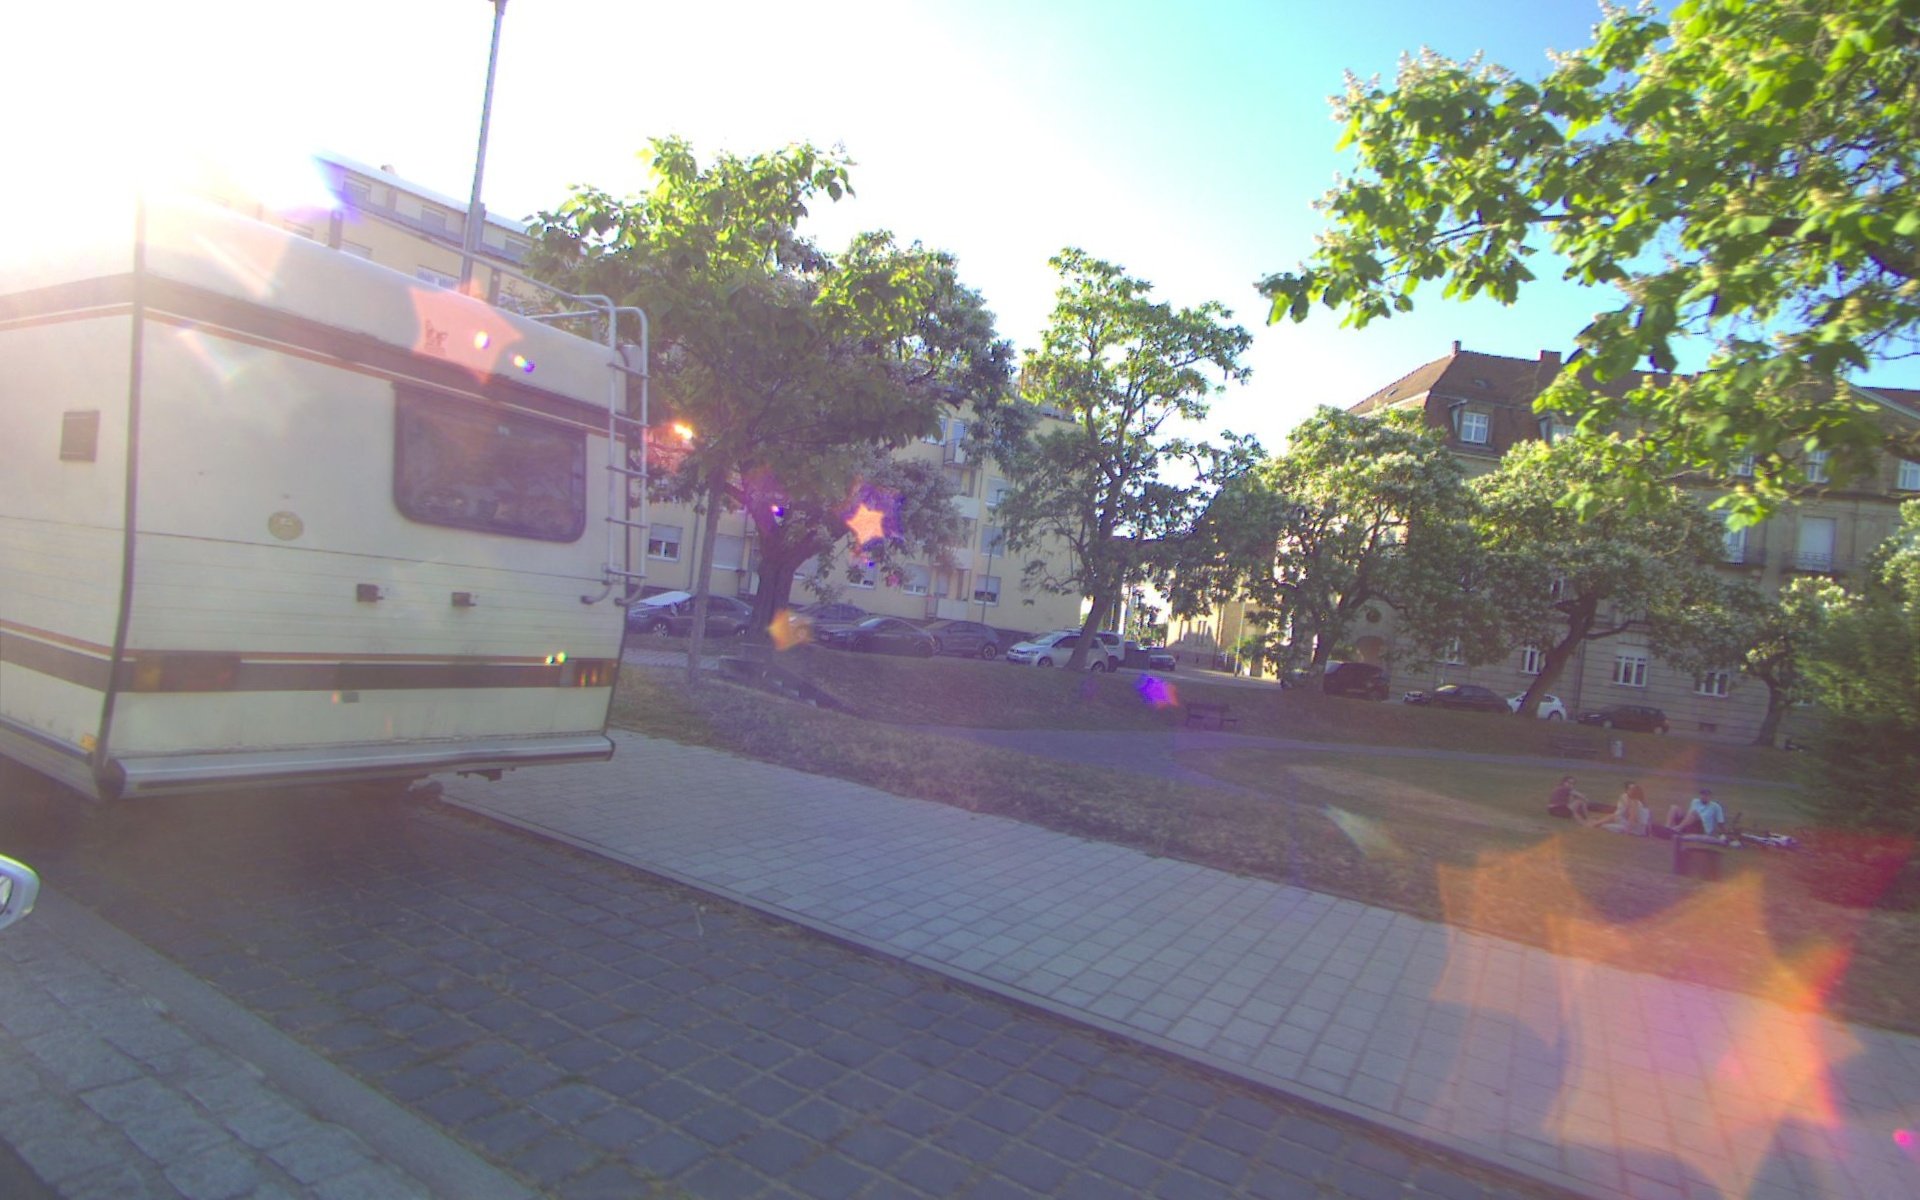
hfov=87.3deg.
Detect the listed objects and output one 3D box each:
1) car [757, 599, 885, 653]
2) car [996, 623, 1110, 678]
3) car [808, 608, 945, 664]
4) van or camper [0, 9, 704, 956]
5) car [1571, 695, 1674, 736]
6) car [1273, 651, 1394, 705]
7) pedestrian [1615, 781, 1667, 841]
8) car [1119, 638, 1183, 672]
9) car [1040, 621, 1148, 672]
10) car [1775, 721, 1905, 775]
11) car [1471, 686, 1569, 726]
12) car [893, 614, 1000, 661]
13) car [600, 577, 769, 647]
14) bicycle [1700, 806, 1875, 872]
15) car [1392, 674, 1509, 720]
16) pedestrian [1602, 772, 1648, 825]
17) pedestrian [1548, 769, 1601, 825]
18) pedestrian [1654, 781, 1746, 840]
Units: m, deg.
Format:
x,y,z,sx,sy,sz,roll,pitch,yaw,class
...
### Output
x,y,z,sx,sy,sz,roll,pitch,yaw,class
-5.300,1.025,38.714,4.493,1.588,1.859,7,-1,-41,car
3.468,1.883,37.206,3.959,1.571,1.597,7,-1,-32,car
-2.694,1.204,32.984,4.175,1.374,1.675,7,-1,-39,car
-4.368,-0.478,5.495,5.578,2.939,2.237,5,-1,30,van or camper
34.200,5.944,52.001,3.924,1.470,1.882,6,-1,5,car
15.933,3.318,42.978,4.456,1.767,1.875,7,-1,-16,car
11.220,3.469,16.588,0.602,0.822,0.473,7,-1,32,pedestrian
11.920,3.399,63.084,1.611,1.668,4.224,6,-1,-25,car
6.081,2.115,45.634,4.468,1.767,1.870,7,-1,-25,car
39.947,6.711,45.755,3.925,1.725,2.002,7,-2,3,car
28.824,5.432,51.870,3.926,1.470,1.881,6,-1,0,car
-0.549,1.570,41.664,3.958,1.470,1.866,7,-1,-31,car
-7.653,0.363,28.170,4.183,1.480,1.672,7,-1,-44,car
13.534,3.872,16.483,1.755,0.622,1.795,8,-2,-35,bicycle
21.871,4.325,44.917,4.291,1.470,1.879,7,-1,-7,car
12.098,3.607,18.317,0.602,0.822,0.473,7,-1,32,pedestrian
10.858,3.466,17.789,0.712,0.822,0.612,6,-1,32,pedestrian
13.023,3.698,17.712,1.240,0.822,0.572,8,-1,-14,pedestrian
